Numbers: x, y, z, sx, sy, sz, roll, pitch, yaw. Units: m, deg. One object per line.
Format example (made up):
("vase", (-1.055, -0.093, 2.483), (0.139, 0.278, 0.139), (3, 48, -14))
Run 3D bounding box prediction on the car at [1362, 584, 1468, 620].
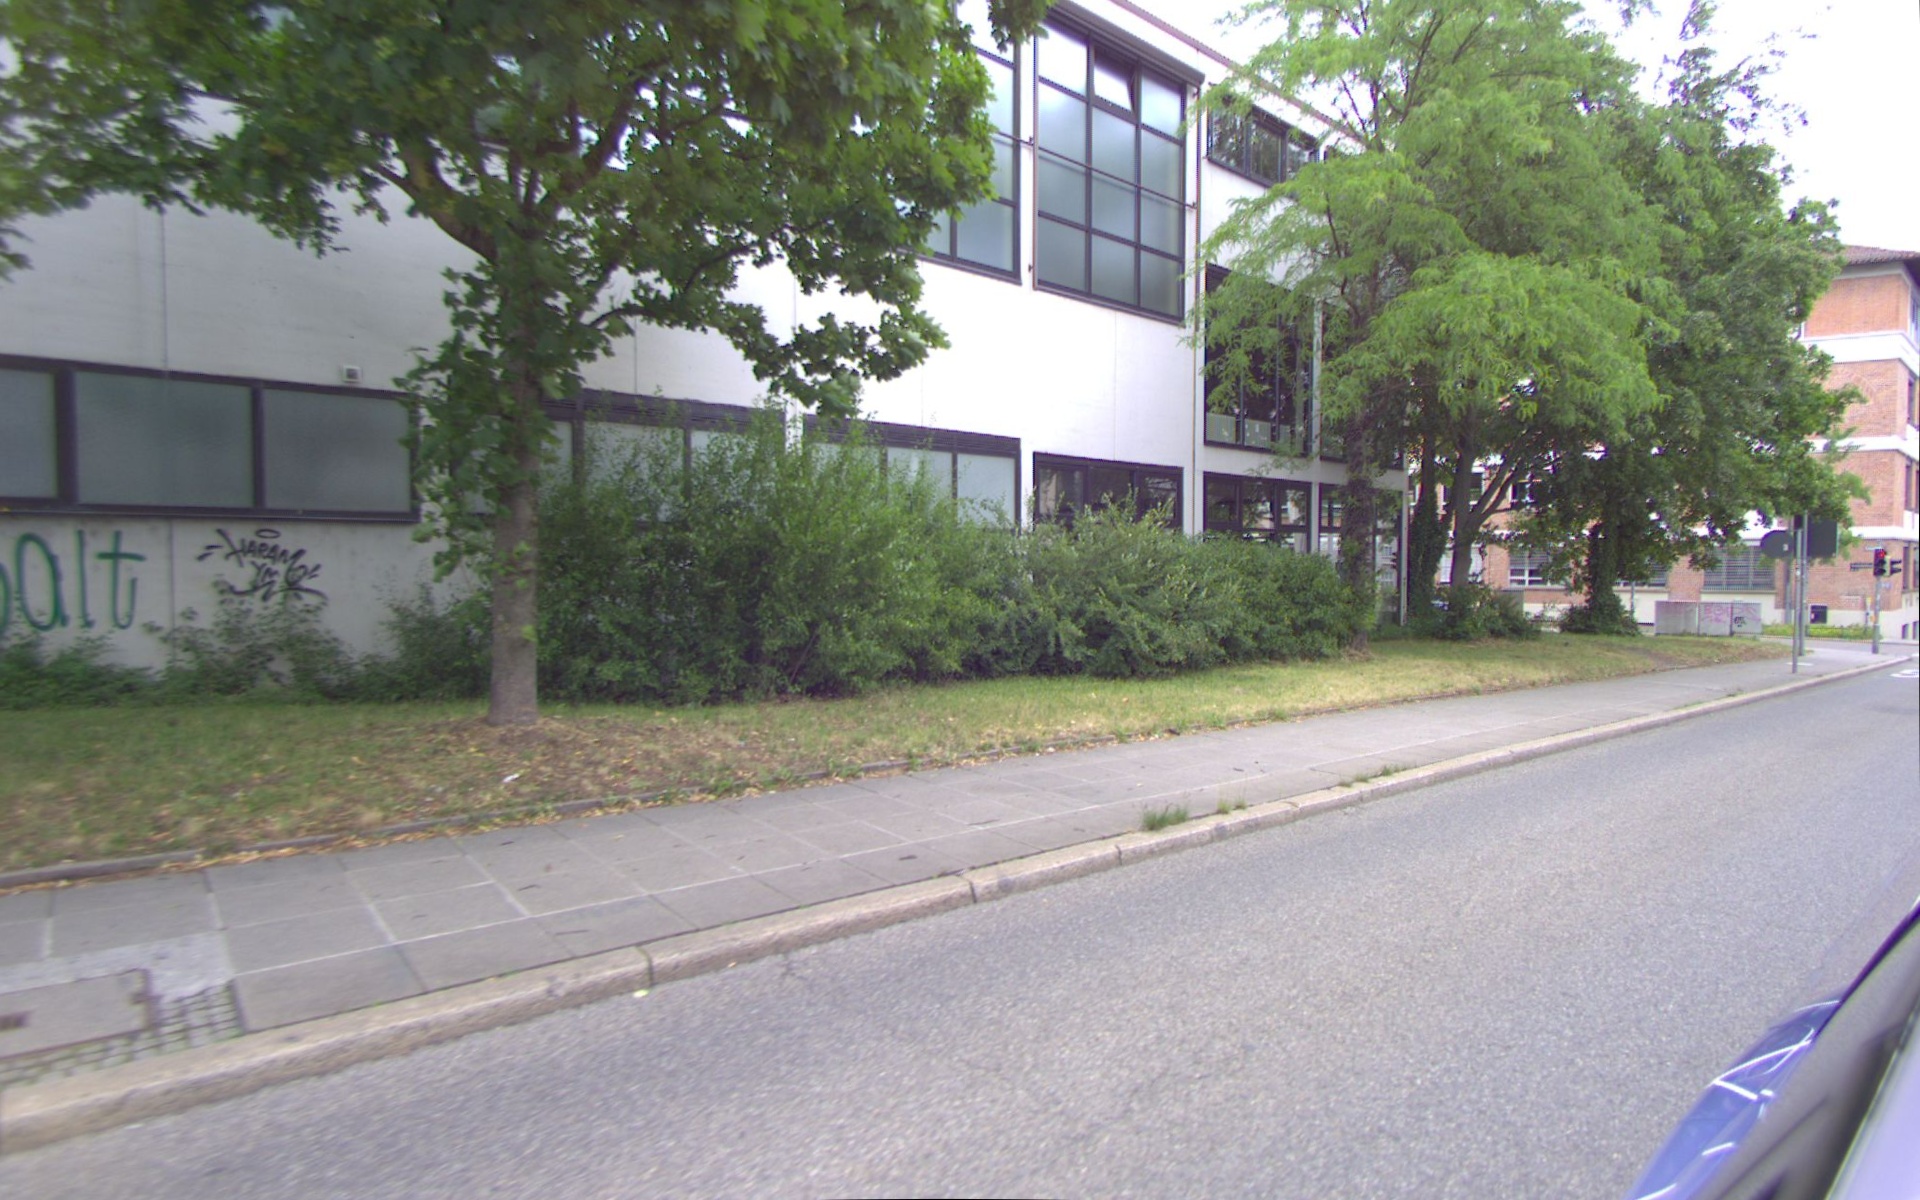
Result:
("car", (21.189, 0.083, 47.147), (4.380, 1.423, 1.755), (3, -1, 28))
